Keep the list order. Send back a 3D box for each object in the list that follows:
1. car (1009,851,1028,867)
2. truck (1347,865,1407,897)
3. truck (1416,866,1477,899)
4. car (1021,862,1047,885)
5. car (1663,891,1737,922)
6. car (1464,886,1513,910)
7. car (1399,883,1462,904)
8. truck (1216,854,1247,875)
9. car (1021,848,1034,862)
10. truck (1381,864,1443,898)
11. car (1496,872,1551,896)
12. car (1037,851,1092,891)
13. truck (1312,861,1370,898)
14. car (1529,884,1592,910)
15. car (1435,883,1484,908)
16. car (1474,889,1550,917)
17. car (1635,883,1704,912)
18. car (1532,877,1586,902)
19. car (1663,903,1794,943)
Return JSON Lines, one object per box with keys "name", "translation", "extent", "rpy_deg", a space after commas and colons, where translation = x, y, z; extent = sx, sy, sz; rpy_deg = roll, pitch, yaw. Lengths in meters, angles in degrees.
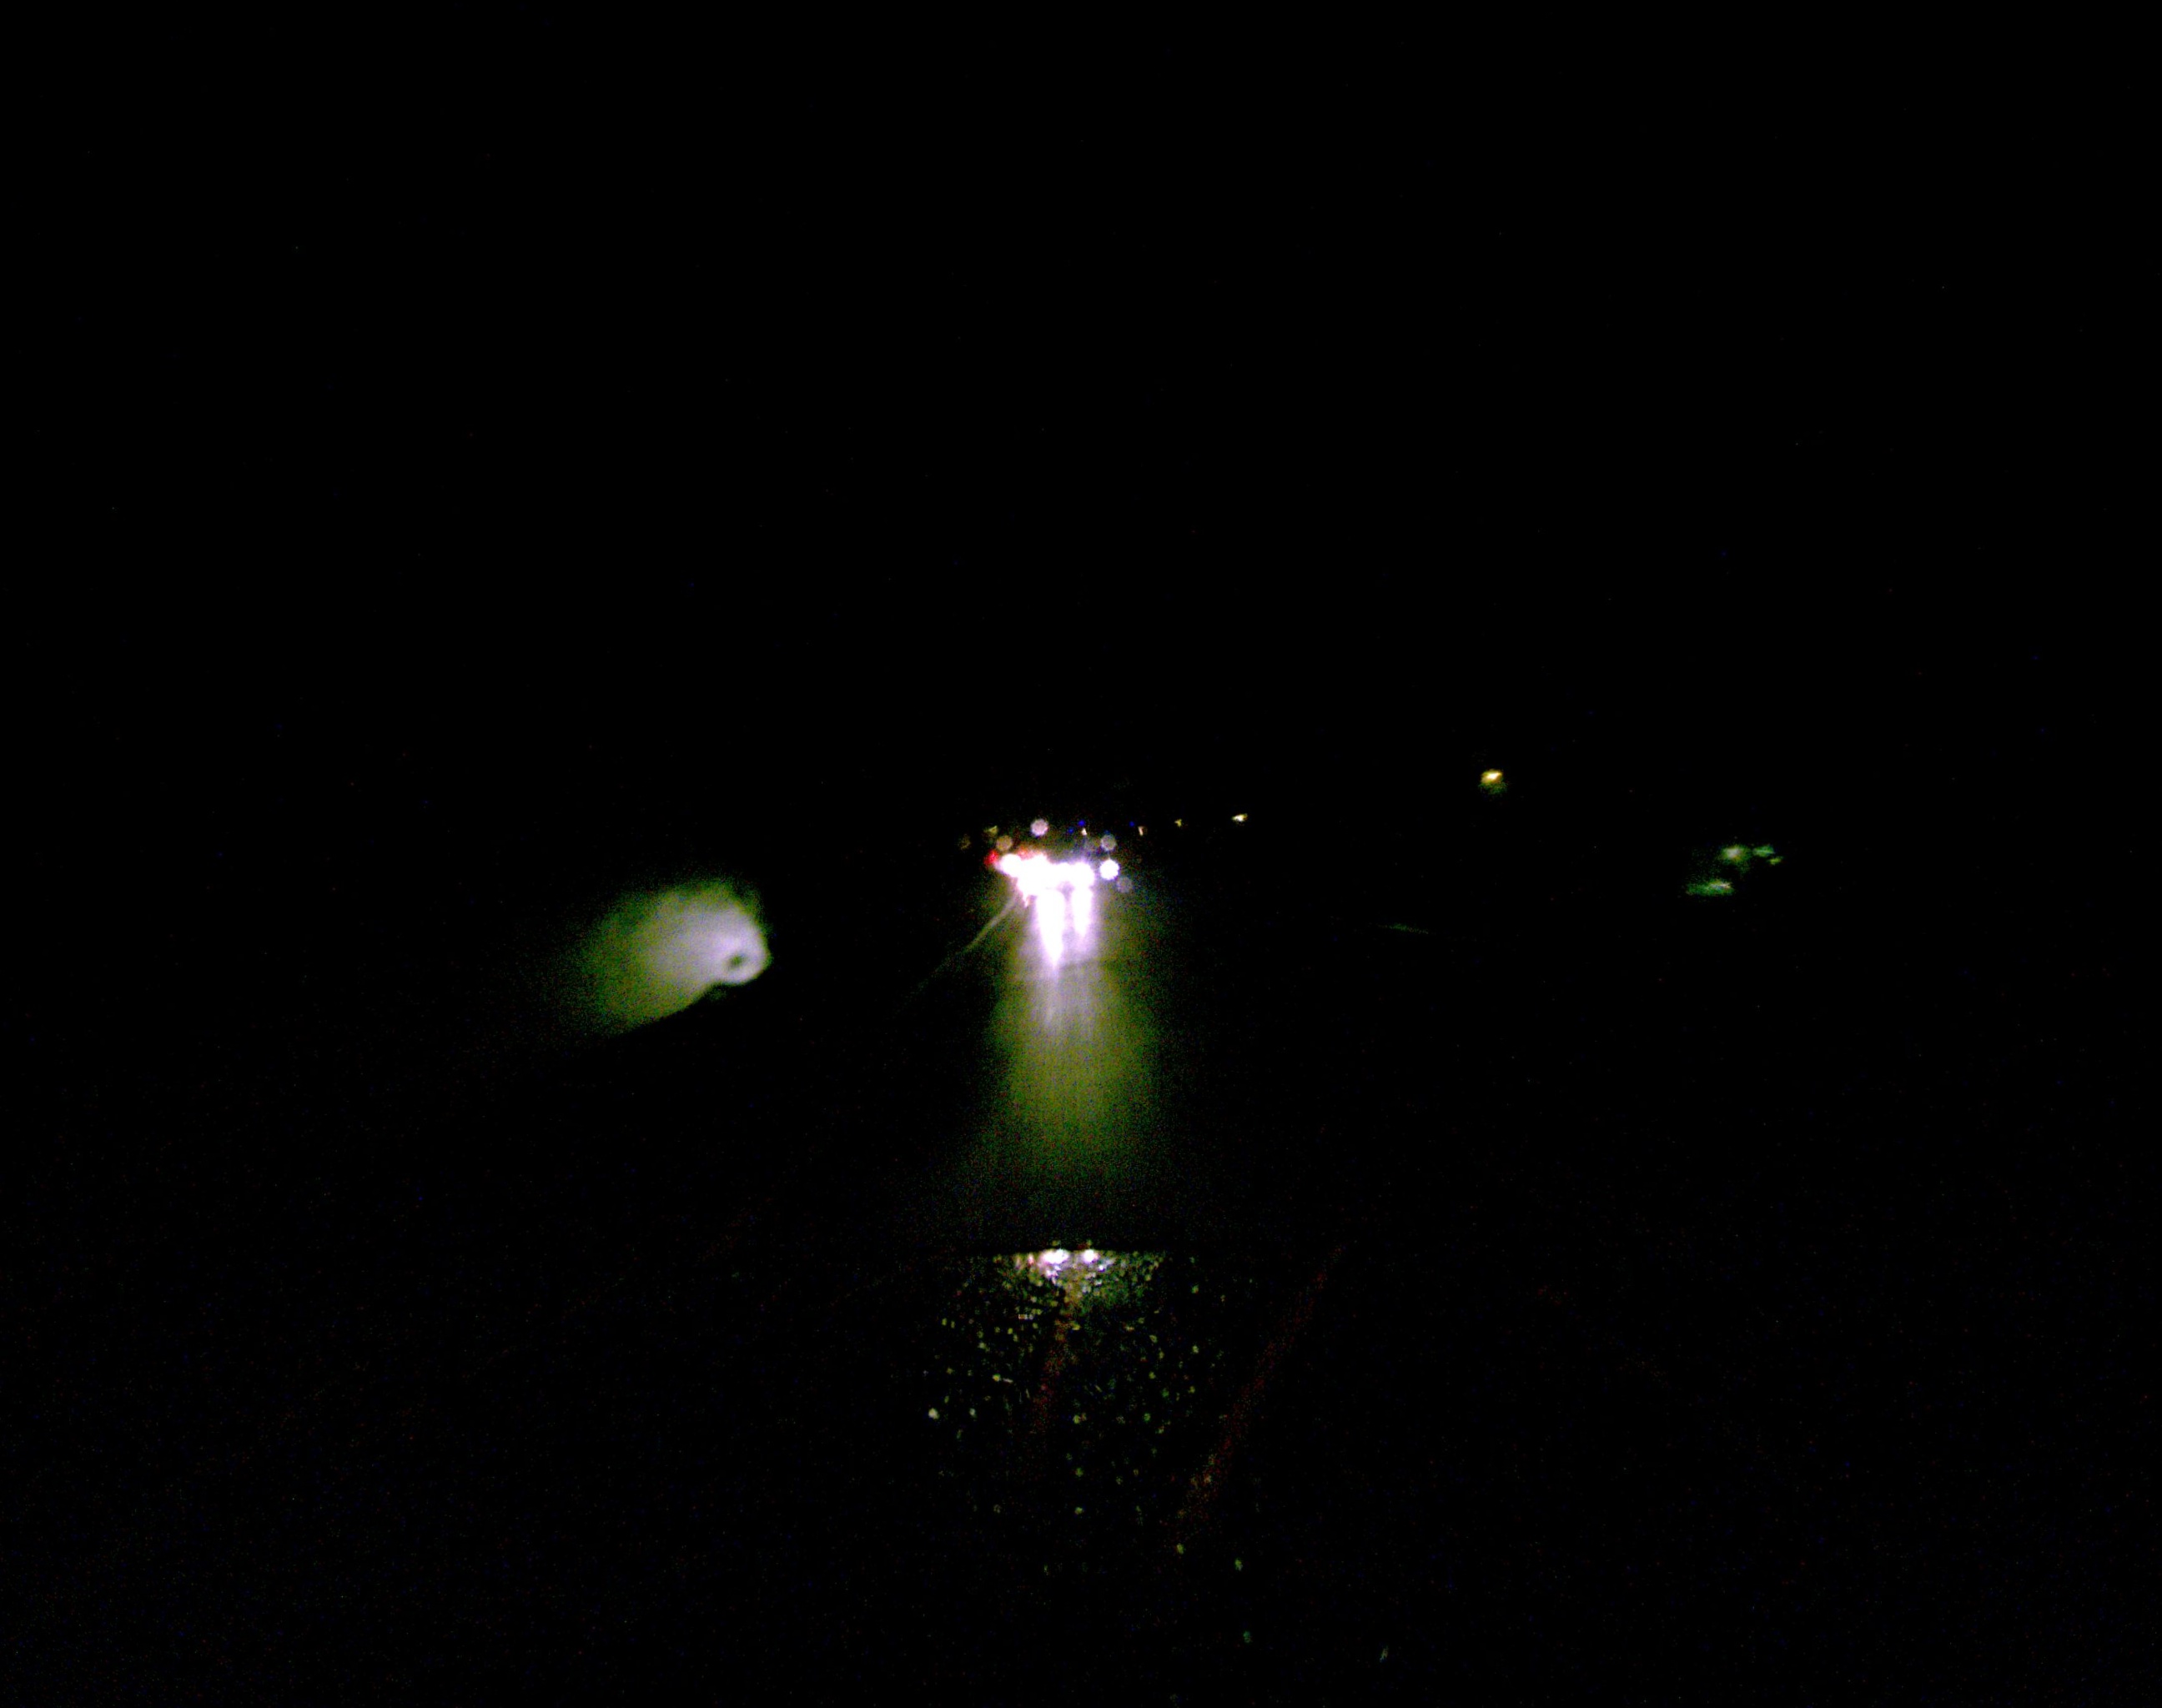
{"name": "car", "translation": [-7.362, 0.515, 89.373], "extent": [1.710, 1.762, 3.995], "rpy_deg": [-2, 1, -13]}
{"name": "truck", "translation": [32.677, 2.924, 84.252], "extent": [2.444, 3.080, 7.041], "rpy_deg": [4, 1, -14]}
{"name": "truck", "translation": [41.537, 3.188, 86.564], "extent": [2.444, 3.241, 6.557], "rpy_deg": [4, 1, -14]}
{"name": "car", "translation": [-4.438, 1.790, 71.955], "extent": [1.901, 2.002, 3.995], "rpy_deg": [-2, 1, -11]}
{"name": "car", "translation": [46.233, 3.905, 56.830], "extent": [4.000, 1.845, 1.998], "rpy_deg": [4, 1, -8]}
{"name": "car", "translation": [36.262, 3.867, 67.631], "extent": [1.723, 1.896, 3.718], "rpy_deg": [-2, 0, -16]}
{"name": "car", "translation": [27.040, 3.062, 58.845], "extent": [4.000, 1.194, 1.845], "rpy_deg": [4, 1, -8]}
{"name": "truck", "translation": [20.139, 1.386, 101.931], "extent": [2.174, 2.504, 6.866], "rpy_deg": [4, 0, -5]}
{"name": "car", "translation": [-8.357, 0.113, 118.492], "extent": [1.897, 1.991, 4.877], "rpy_deg": [-3, 0, -6]}
{"name": "truck", "translation": [37.286, 2.970, 85.756], "extent": [2.444, 3.241, 7.041], "rpy_deg": [4, 1, -14]}
{"name": "car", "translation": [34.800, 2.311, 59.740], "extent": [4.006, 1.630, 1.995], "rpy_deg": [-2, 0, -31]}
{"name": "car", "translation": [-0.876, 0.731, 36.195], "extent": [2.000, 1.585, 4.604], "rpy_deg": [-4, 2, -8]}
{"name": "truck", "translation": [28.265, 2.707, 83.007], "extent": [2.475, 3.460, 7.042], "rpy_deg": [4, 1, -12]}
{"name": "car", "translation": [35.475, 3.141, 56.223], "extent": [4.004, 1.630, 1.996], "rpy_deg": [-2, 0, -23]}
{"name": "car", "translation": [33.102, 3.615, 66.552], "extent": [1.723, 1.896, 3.718], "rpy_deg": [-2, 0, -16]}
{"name": "car", "translation": [28.904, 3.284, 50.984], "extent": [4.000, 1.446, 1.909], "rpy_deg": [4, 1, -8]}
{"name": "car", "translation": [45.934, 3.388, 59.356], "extent": [4.000, 1.845, 1.930], "rpy_deg": [4, 1, -8]}
{"name": "car", "translation": [43.481, 3.194, 69.239], "extent": [1.740, 2.002, 3.994], "rpy_deg": [-2, 0, -18]}
{"name": "car", "translation": [34.237, 3.597, 40.342], "extent": [2.003, 1.558, 4.842], "rpy_deg": [3, 0, -27]}
